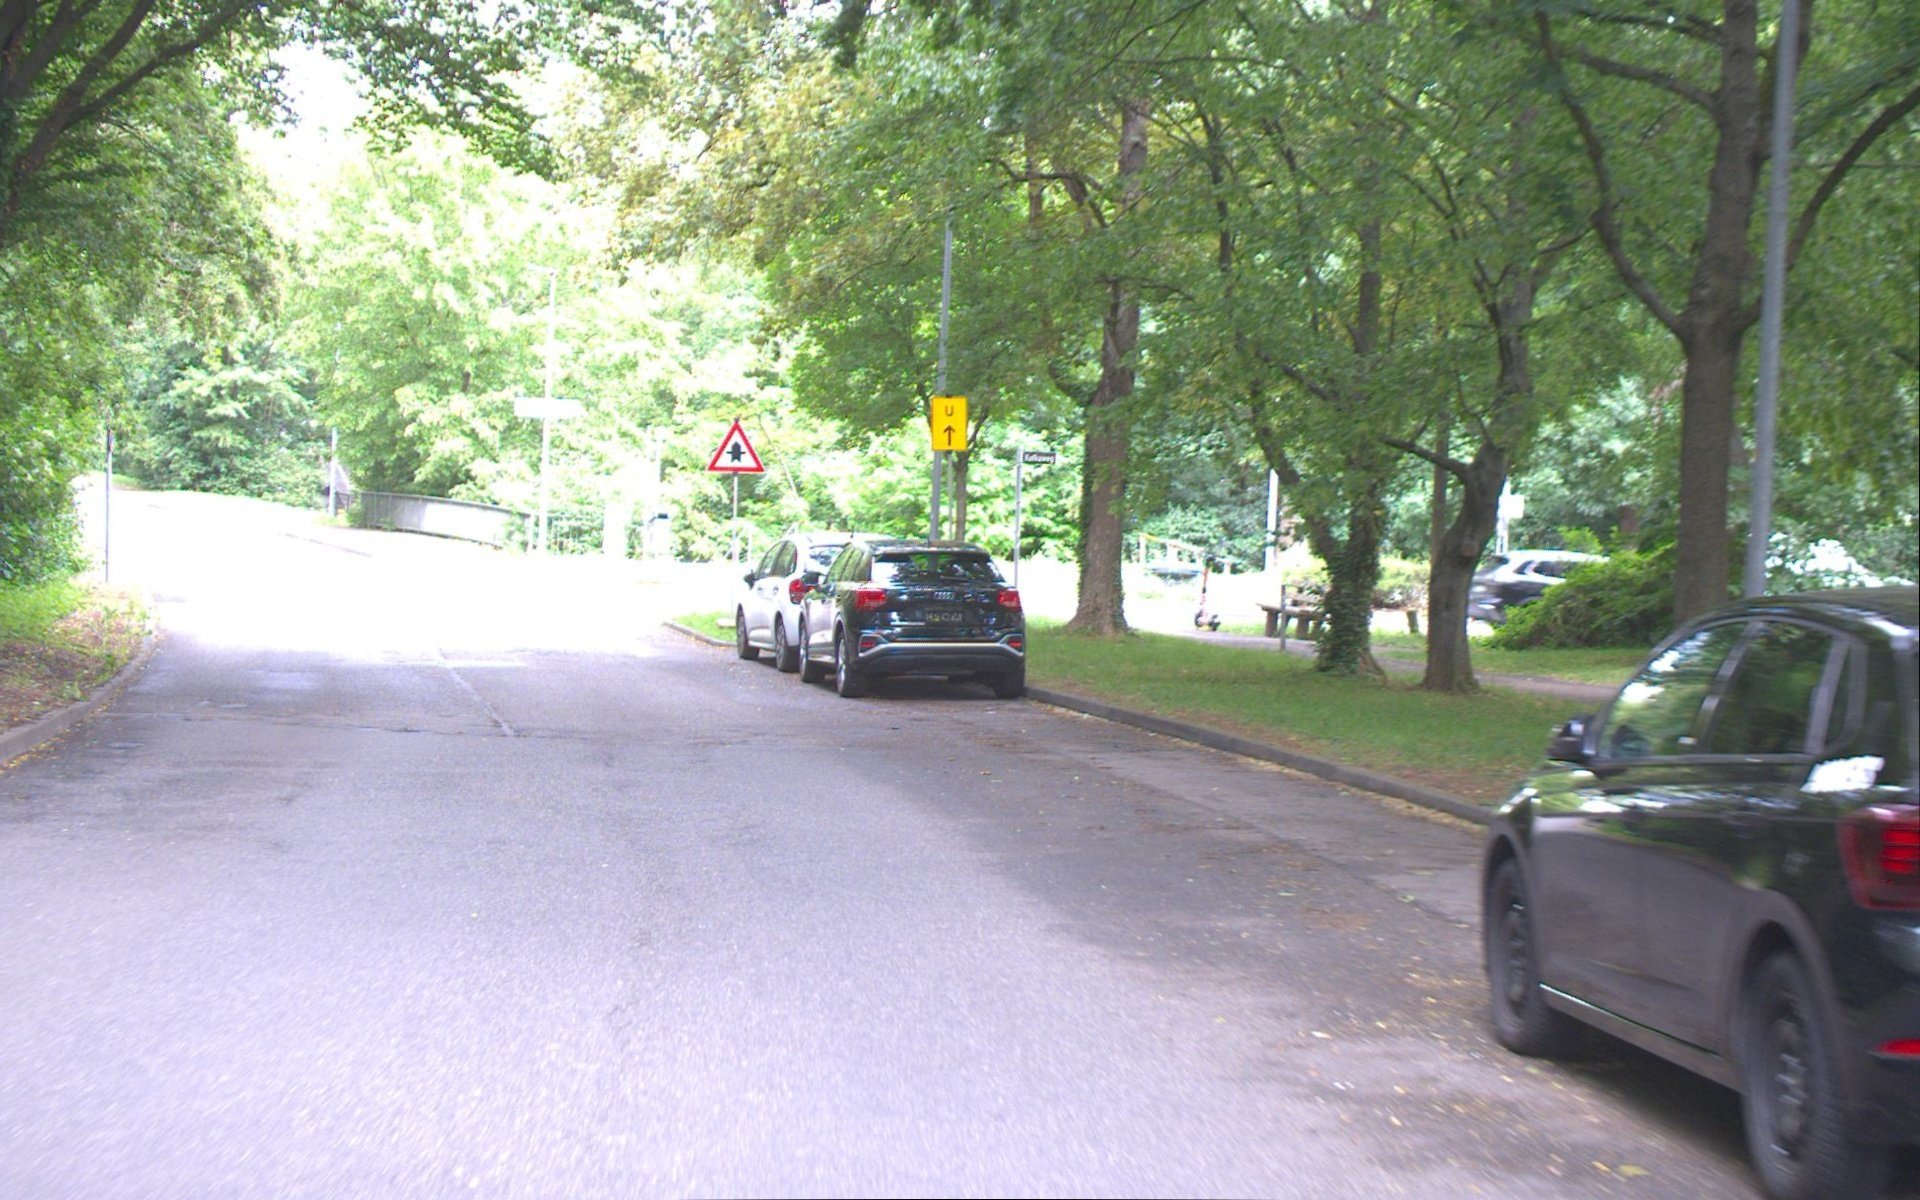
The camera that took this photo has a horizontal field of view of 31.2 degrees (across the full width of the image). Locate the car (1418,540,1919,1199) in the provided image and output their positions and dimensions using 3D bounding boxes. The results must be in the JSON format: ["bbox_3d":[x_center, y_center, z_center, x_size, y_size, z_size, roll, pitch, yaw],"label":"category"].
[{"bbox_3d":[2.498,0.620,9.065,1.682,1.459,3.899,2,1,-5],"label":"car"}]

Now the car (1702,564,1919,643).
[{"bbox_3d":[18.225,0.069,73.496,4.205,1.493,1.800,2,1,-6],"label":"car"}]

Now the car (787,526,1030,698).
[{"bbox_3d":[-0.579,0.071,34.342,1.773,1.517,4.184,2,1,-9],"label":"car"}]

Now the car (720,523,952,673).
[{"bbox_3d":[-1.446,-0.061,38.674,1.773,1.517,3.782,2,1,-15],"label":"car"}]

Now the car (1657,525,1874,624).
[{"bbox_3d":[17.888,-0.583,76.472,4.205,2.007,2.001,2,1,-6],"label":"car"}]

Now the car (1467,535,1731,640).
[{"bbox_3d":[11.337,-0.226,61.150,4.221,1.680,1.799,2,1,-4],"label":"car"}]

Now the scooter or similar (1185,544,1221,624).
[{"bbox_3d":[3.964,-0.268,56.224,0.283,1.282,1.108,2,1,-9],"label":"scooter or similar"}]

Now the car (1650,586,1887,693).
[{"bbox_3d":[13.648,0.658,58.153,3.517,1.564,1.832,3,2,1],"label":"car"}]
